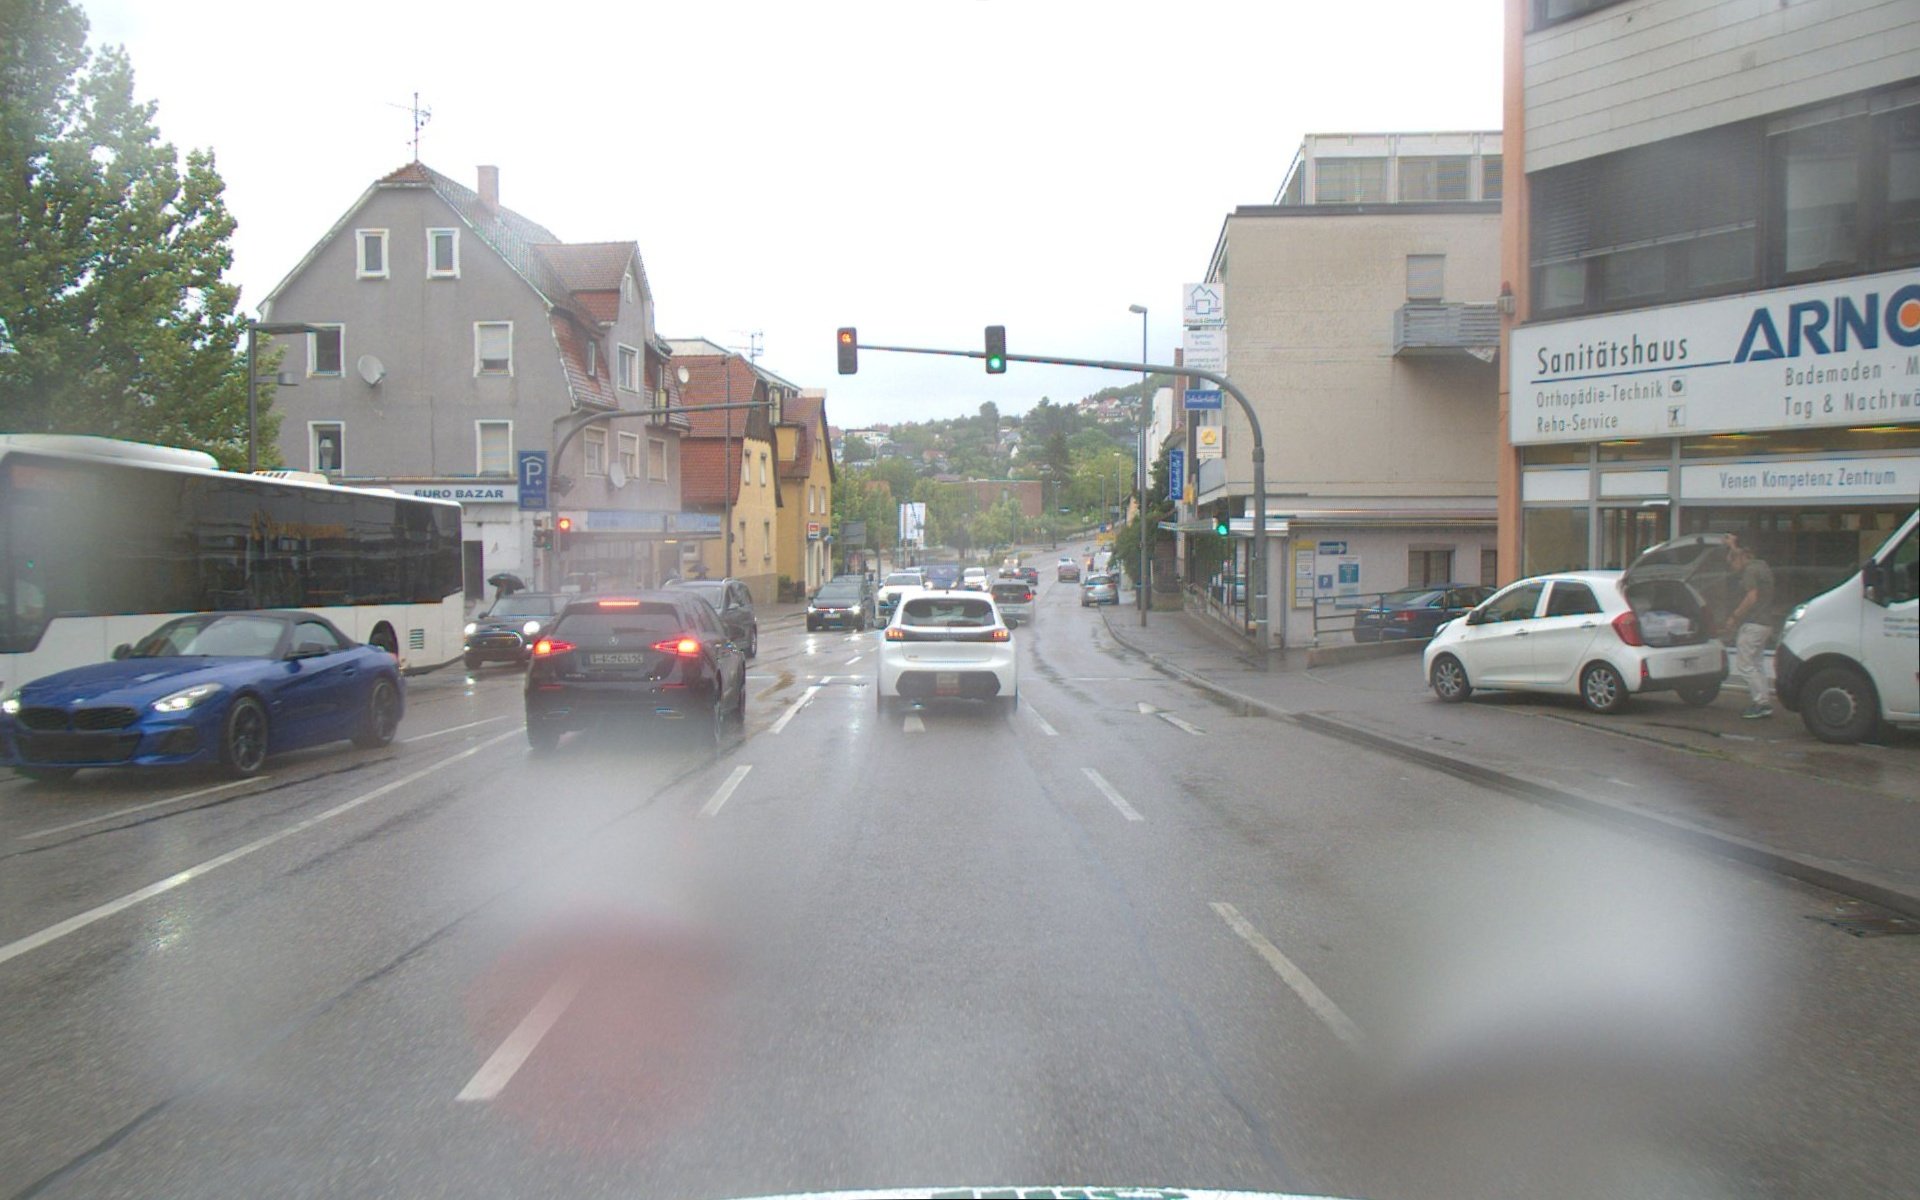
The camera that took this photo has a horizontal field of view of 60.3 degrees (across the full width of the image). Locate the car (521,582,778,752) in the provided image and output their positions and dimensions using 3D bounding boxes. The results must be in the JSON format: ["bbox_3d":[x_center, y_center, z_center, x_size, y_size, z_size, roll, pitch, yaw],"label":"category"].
[{"bbox_3d":[-2.978,0.580,16.718,1.680,1.475,4.199,-1,0,1],"label":"car"}]

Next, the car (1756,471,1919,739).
[{"bbox_3d":[9.421,0.051,13.681,1.982,2.246,4.824,-3,5,-31],"label":"car"}]

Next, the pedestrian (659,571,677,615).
[{"bbox_3d":[-10.689,-0.259,60.559,0.531,1.584,0.446,0,0,4],"label":"pedestrian"}]

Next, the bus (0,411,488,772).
[{"bbox_3d":[-9.371,-0.092,20.522,2.831,3.153,12.005,-1,0,4],"label":"bus"}]

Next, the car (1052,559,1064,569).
[{"bbox_3d":[11.291,-4.178,190.828,1.356,1.146,2.611,-1,0,4],"label":"car"}]

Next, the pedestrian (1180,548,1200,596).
[{"bbox_3d":[8.734,-1.067,62.795,0.714,1.811,0.954,0,2,12],"label":"pedestrian"}]

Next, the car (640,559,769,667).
[{"bbox_3d":[-5.112,0.237,33.657,1.599,2.049,4.287,-1,0,5],"label":"car"}]

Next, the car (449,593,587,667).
[{"bbox_3d":[-8.781,0.566,33.115,1.606,1.361,3.603,-1,0,3],"label":"car"}]

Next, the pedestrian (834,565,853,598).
[{"bbox_3d":[-6.406,-1.006,90.920,0.783,1.819,0.883,-1,0,13],"label":"pedestrian"}]

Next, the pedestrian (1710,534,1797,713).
[{"bbox_3d":[8.140,0.223,16.981,0.581,1.797,0.600,-1,2,-3],"label":"pedestrian"}]

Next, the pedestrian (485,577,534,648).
[{"bbox_3d":[-11.883,0.317,43.643,0.906,1.820,1.234,-1,0,2],"label":"pedestrian"}]

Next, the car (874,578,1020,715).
[{"bbox_3d":[-0.097,0.528,20.752,1.656,1.545,3.934,0,0,1],"label":"car"}]

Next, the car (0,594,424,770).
[{"bbox_3d":[-6.362,0.606,14.385,1.857,1.278,4.196,-1,0,3],"label":"car"}]

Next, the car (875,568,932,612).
[{"bbox_3d":[-2.363,-0.423,69.874,2.055,1.742,4.850,-1,0,2],"label":"car"}]

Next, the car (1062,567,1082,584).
[{"bbox_3d":[9.795,-2.182,145.367,1.697,1.412,3.354,1,2,3],"label":"car"}]

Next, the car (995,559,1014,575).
[{"bbox_3d":[4.376,-3.218,162.118,1.731,1.438,4.528,-1,0,4],"label":"car"}]

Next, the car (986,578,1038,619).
[{"bbox_3d":[1.780,-0.069,57.501,1.706,1.318,3.334,-1,1,0],"label":"car"}]

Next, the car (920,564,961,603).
[{"bbox_3d":[-1.024,-0.873,88.558,1.925,1.972,5.181,-1,0,2],"label":"car"}]

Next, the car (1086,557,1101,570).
[{"bbox_3d":[15.563,-4.253,192.827,1.613,1.511,3.368,-1,0,4],"label":"car"}]

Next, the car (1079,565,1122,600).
[{"bbox_3d":[7.146,-0.867,84.554,1.970,1.650,4.361,0,-1,2],"label":"car"}]

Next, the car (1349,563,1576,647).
[{"bbox_3d":[9.790,0.054,32.161,4.337,1.435,1.720,-2,2,-29],"label":"car"}]

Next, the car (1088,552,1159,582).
[{"bbox_3d":[13.749,-2.773,138.713,6.576,2.423,2.261,-1,0,-45],"label":"car"}]

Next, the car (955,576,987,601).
[{"bbox_3d":[0.753,-0.802,111.313,1.839,1.637,4.721,0,0,4],"label":"car"}]

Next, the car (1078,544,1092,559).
[{"bbox_3d":[17.984,-6.989,237.973,1.951,2.049,4.002,-1,0,4],"label":"car"}]

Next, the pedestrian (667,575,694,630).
[{"bbox_3d":[-7.288,0.062,43.159,0.567,1.419,0.561,-1,0,1],"label":"pedestrian"}]

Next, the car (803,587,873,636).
[{"bbox_3d":[-3.808,0.325,52.075,1.722,1.459,4.382,-1,0,2],"label":"car"}]

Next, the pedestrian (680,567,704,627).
[{"bbox_3d":[-8.969,-0.100,55.468,0.648,1.954,0.946,2,0,-4],"label":"pedestrian"}]

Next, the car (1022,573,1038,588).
[{"bbox_3d":[5.499,-1.533,130.299,1.187,1.176,2.271,0,0,2],"label":"car"}]

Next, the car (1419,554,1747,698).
[{"bbox_3d":[7.013,0.259,18.935,1.590,1.487,3.397,-1,0,-25],"label":"car"}]
